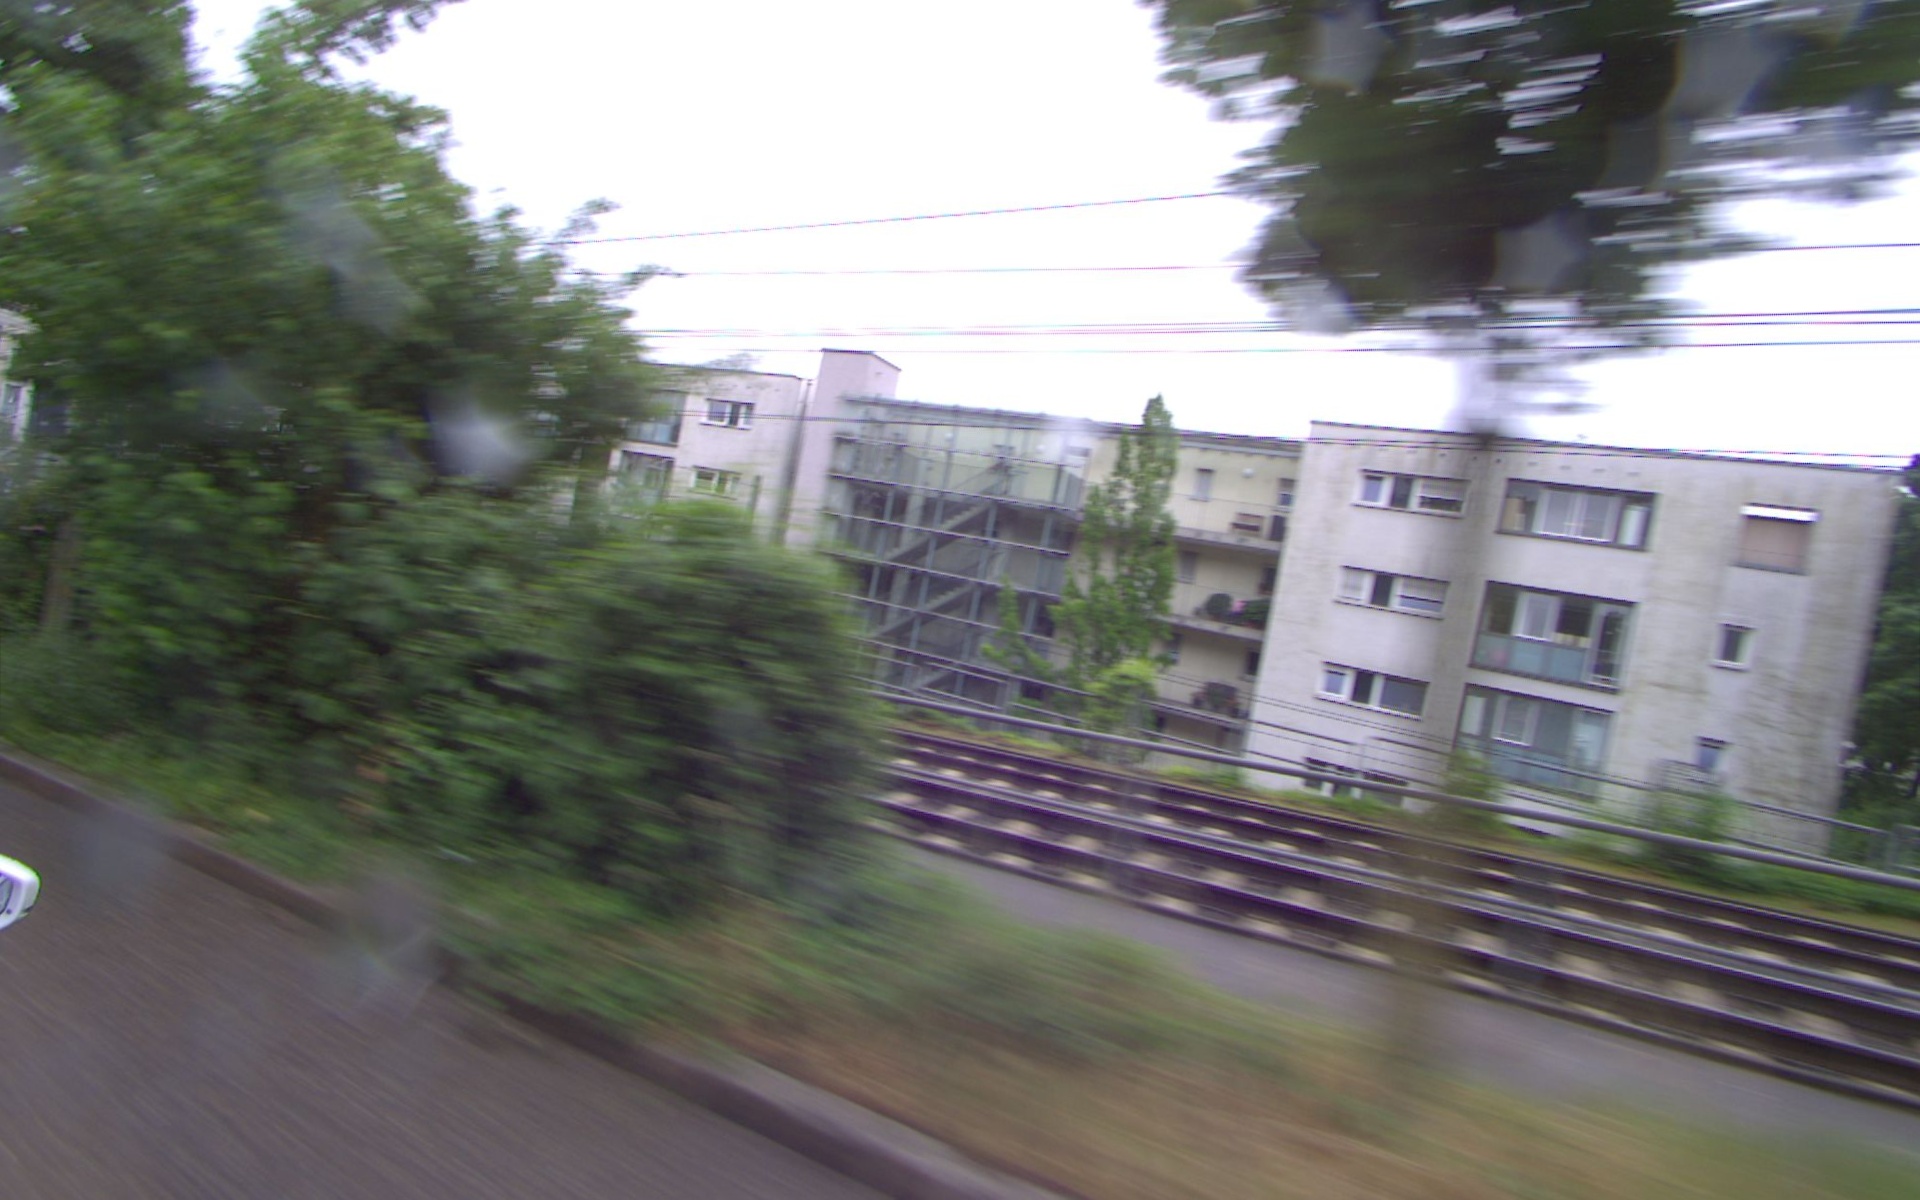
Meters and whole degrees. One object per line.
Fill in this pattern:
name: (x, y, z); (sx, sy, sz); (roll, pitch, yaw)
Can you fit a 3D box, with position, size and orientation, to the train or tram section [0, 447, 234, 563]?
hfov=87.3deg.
train or tram section: (-42.416, -4.861, 49.198); (18.489, 3.991, 3.340); (7, -2, 29)
